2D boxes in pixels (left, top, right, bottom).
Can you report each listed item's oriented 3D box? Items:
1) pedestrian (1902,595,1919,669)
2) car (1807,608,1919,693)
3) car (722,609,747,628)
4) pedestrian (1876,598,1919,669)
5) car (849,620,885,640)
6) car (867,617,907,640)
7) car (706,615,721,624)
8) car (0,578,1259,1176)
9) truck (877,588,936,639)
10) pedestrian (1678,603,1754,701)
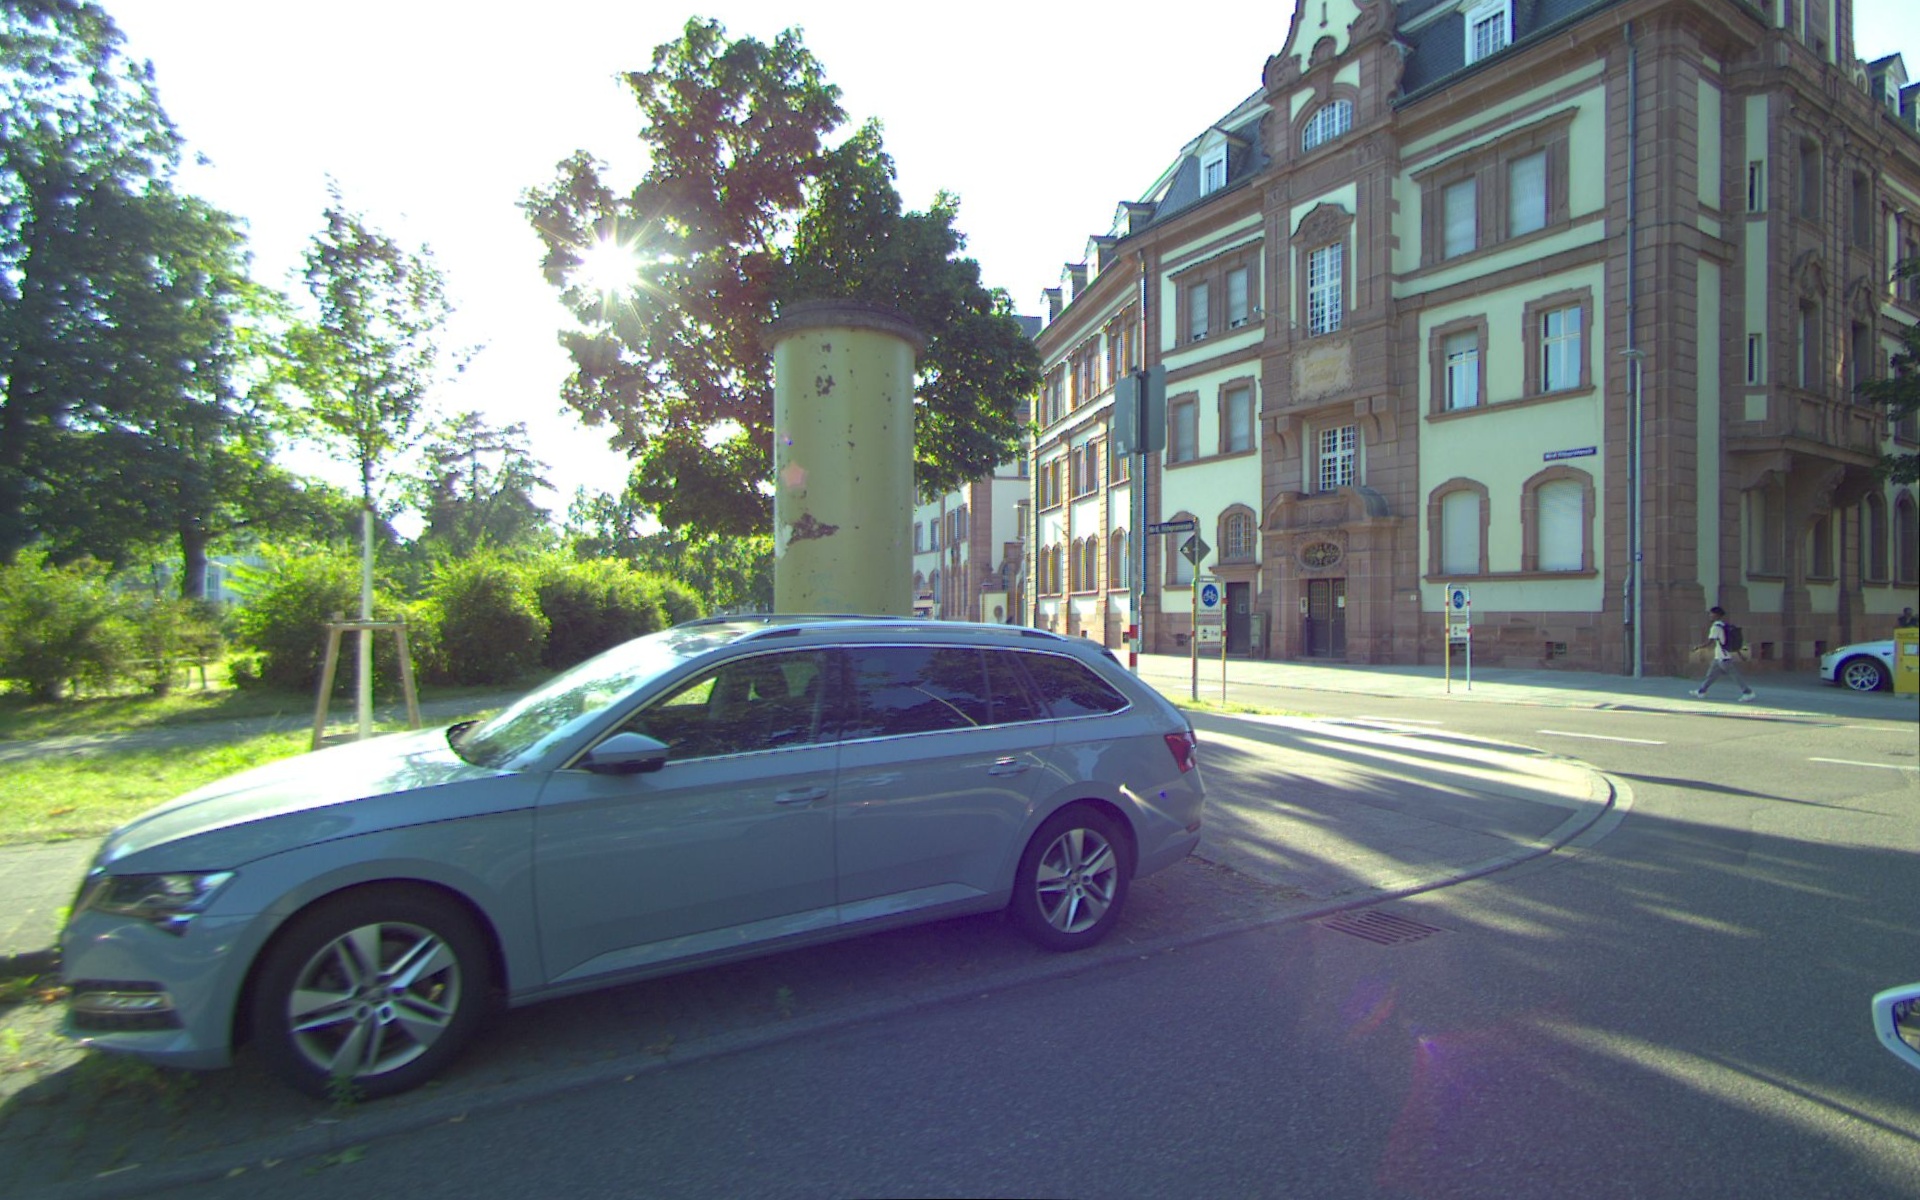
[{"bbox_3d":[24.718,0.818,25.697,0.605,1.865,0.721,0,2,-29],"label":"pedestrian"},{"bbox_3d":[20.108,1.064,19.935,1.946,1.610,4.676,1,2,-34],"label":"car"},{"bbox_3d":[-33.137,2.687,147.568,2.188,2.564,6.109,-2,0,-25],"label":"car"},{"bbox_3d":[25.246,0.890,26.943,0.708,1.865,0.784,0,1,-29],"label":"pedestrian"},{"bbox_3d":[-7.408,2.344,79.962,1.848,1.455,4.504,-1,-1,-18],"label":"car"},{"bbox_3d":[-5.208,1.997,71.436,1.746,1.551,4.554,-2,-1,-18],"label":"car"},{"bbox_3d":[-38.572,3.025,157.116,1.674,1.460,3.526,-1,-1,-27],"label":"car"},{"bbox_3d":[-0.982,0.770,4.682,4.783,1.579,1.852,1,-1,-31],"label":"car"},{"bbox_3d":[-3.573,0.906,65.806,2.589,3.162,6.067,0,-1,-16],"label":"truck"},{"bbox_3d":[13.901,0.938,18.475,0.528,1.742,0.995,1,-1,-30],"label":"pedestrian"}]
